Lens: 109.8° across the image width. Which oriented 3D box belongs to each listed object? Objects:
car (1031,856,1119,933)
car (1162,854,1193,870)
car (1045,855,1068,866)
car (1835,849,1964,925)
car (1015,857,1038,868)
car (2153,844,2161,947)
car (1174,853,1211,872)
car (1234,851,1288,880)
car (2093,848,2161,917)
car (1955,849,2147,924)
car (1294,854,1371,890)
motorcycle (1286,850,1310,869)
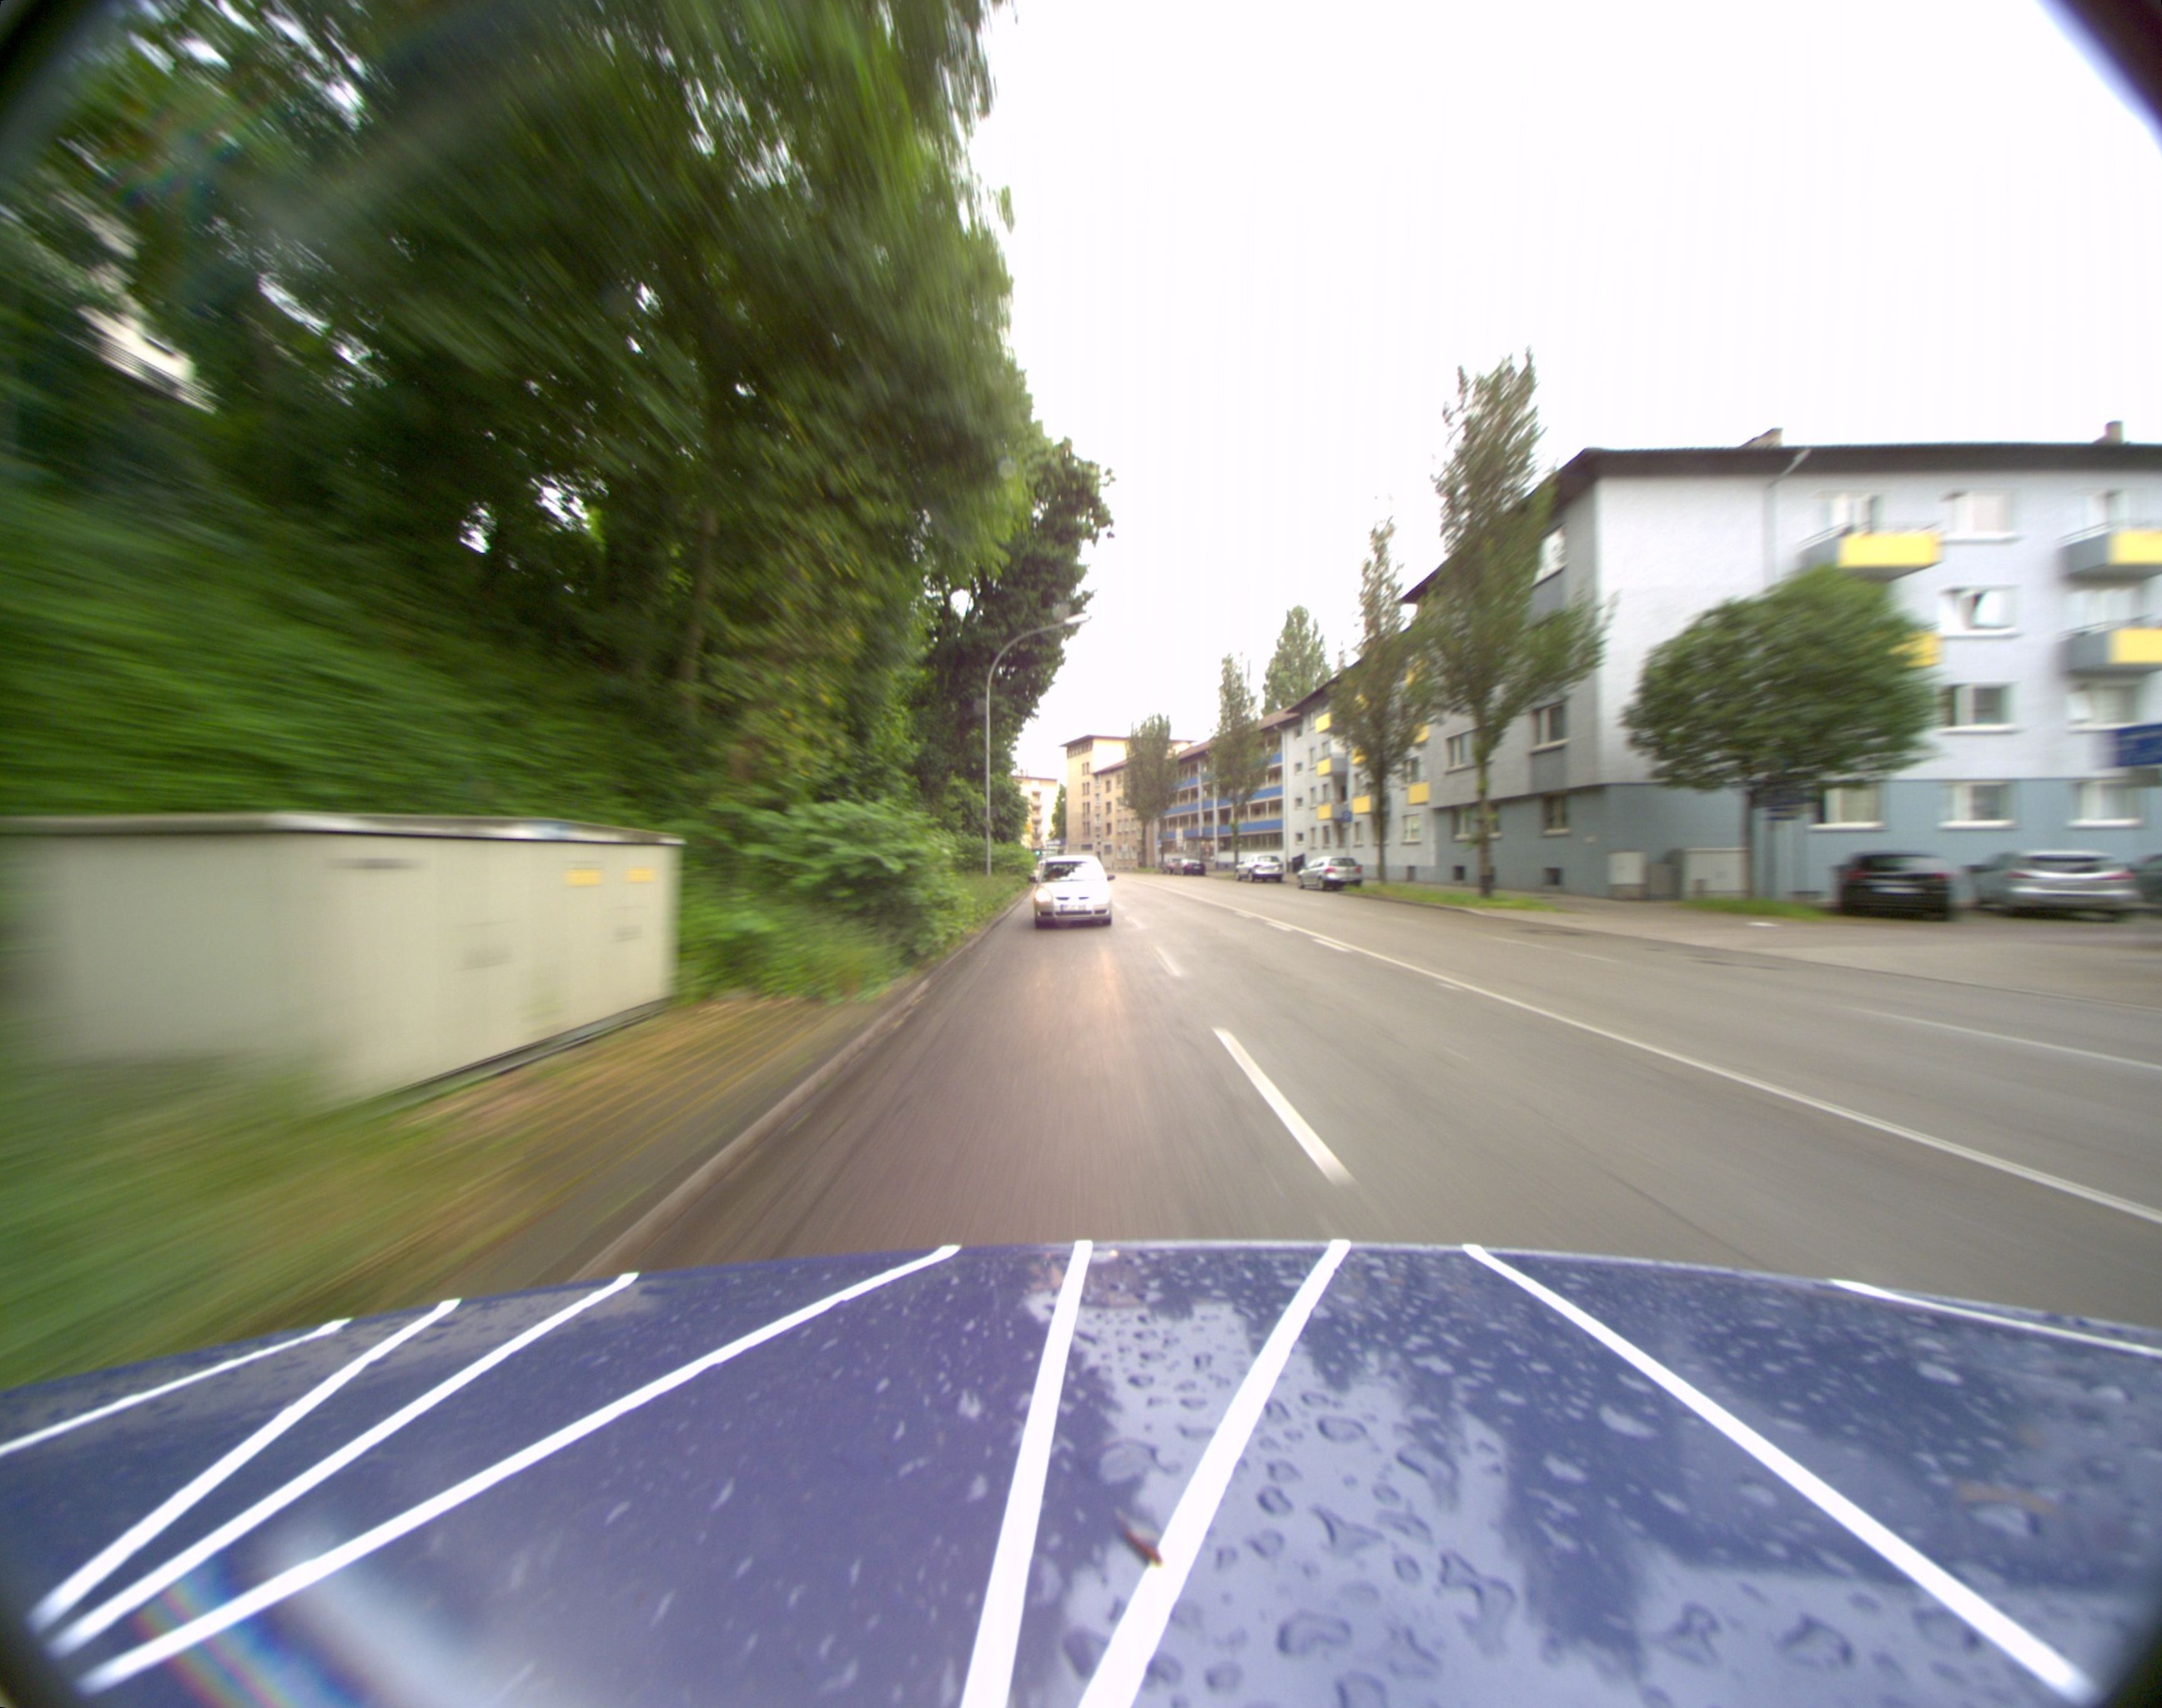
[{"bbox_3d":[-0.226,0.838,17.793,1.753,1.510,3.999,-3,0,-3],"label":"car"},{"bbox_3d":[8.625,0.724,68.239,1.785,1.395,4.086,1,0,-6],"label":"car"},{"bbox_3d":[-3.091,0.814,95.608,1.759,1.417,4.530,-1,0,-16],"label":"car"},{"bbox_3d":[18.575,0.657,17.405,1.708,1.486,4.008,2,2,44],"label":"car"},{"bbox_3d":[-7.800,1.128,107.834,1.828,1.507,5.019,0,0,-21],"label":"car"},{"bbox_3d":[18.472,0.601,10.657,4.160,1.569,1.926,-1,0,0],"label":"car"},{"bbox_3d":[9.123,0.708,62.584,1.826,1.431,4.889,1,0,-5],"label":"car"},{"bbox_3d":[10.433,0.643,44.403,1.769,1.594,4.531,0,0,-4],"label":"car"},{"bbox_3d":[25.299,0.623,17.203,1.870,1.485,4.008,0,1,38],"label":"car"},{"bbox_3d":[22.111,0.653,17.536,1.789,1.485,4.008,1,1,38],"label":"car"},{"bbox_3d":[10.937,0.724,33.358,1.729,1.444,4.203,0,1,-4],"label":"car"},{"bbox_3d":[16.074,0.400,56.231,0.677,1.406,2.234,-3,1,-12],"label":"motorcycle"}]
